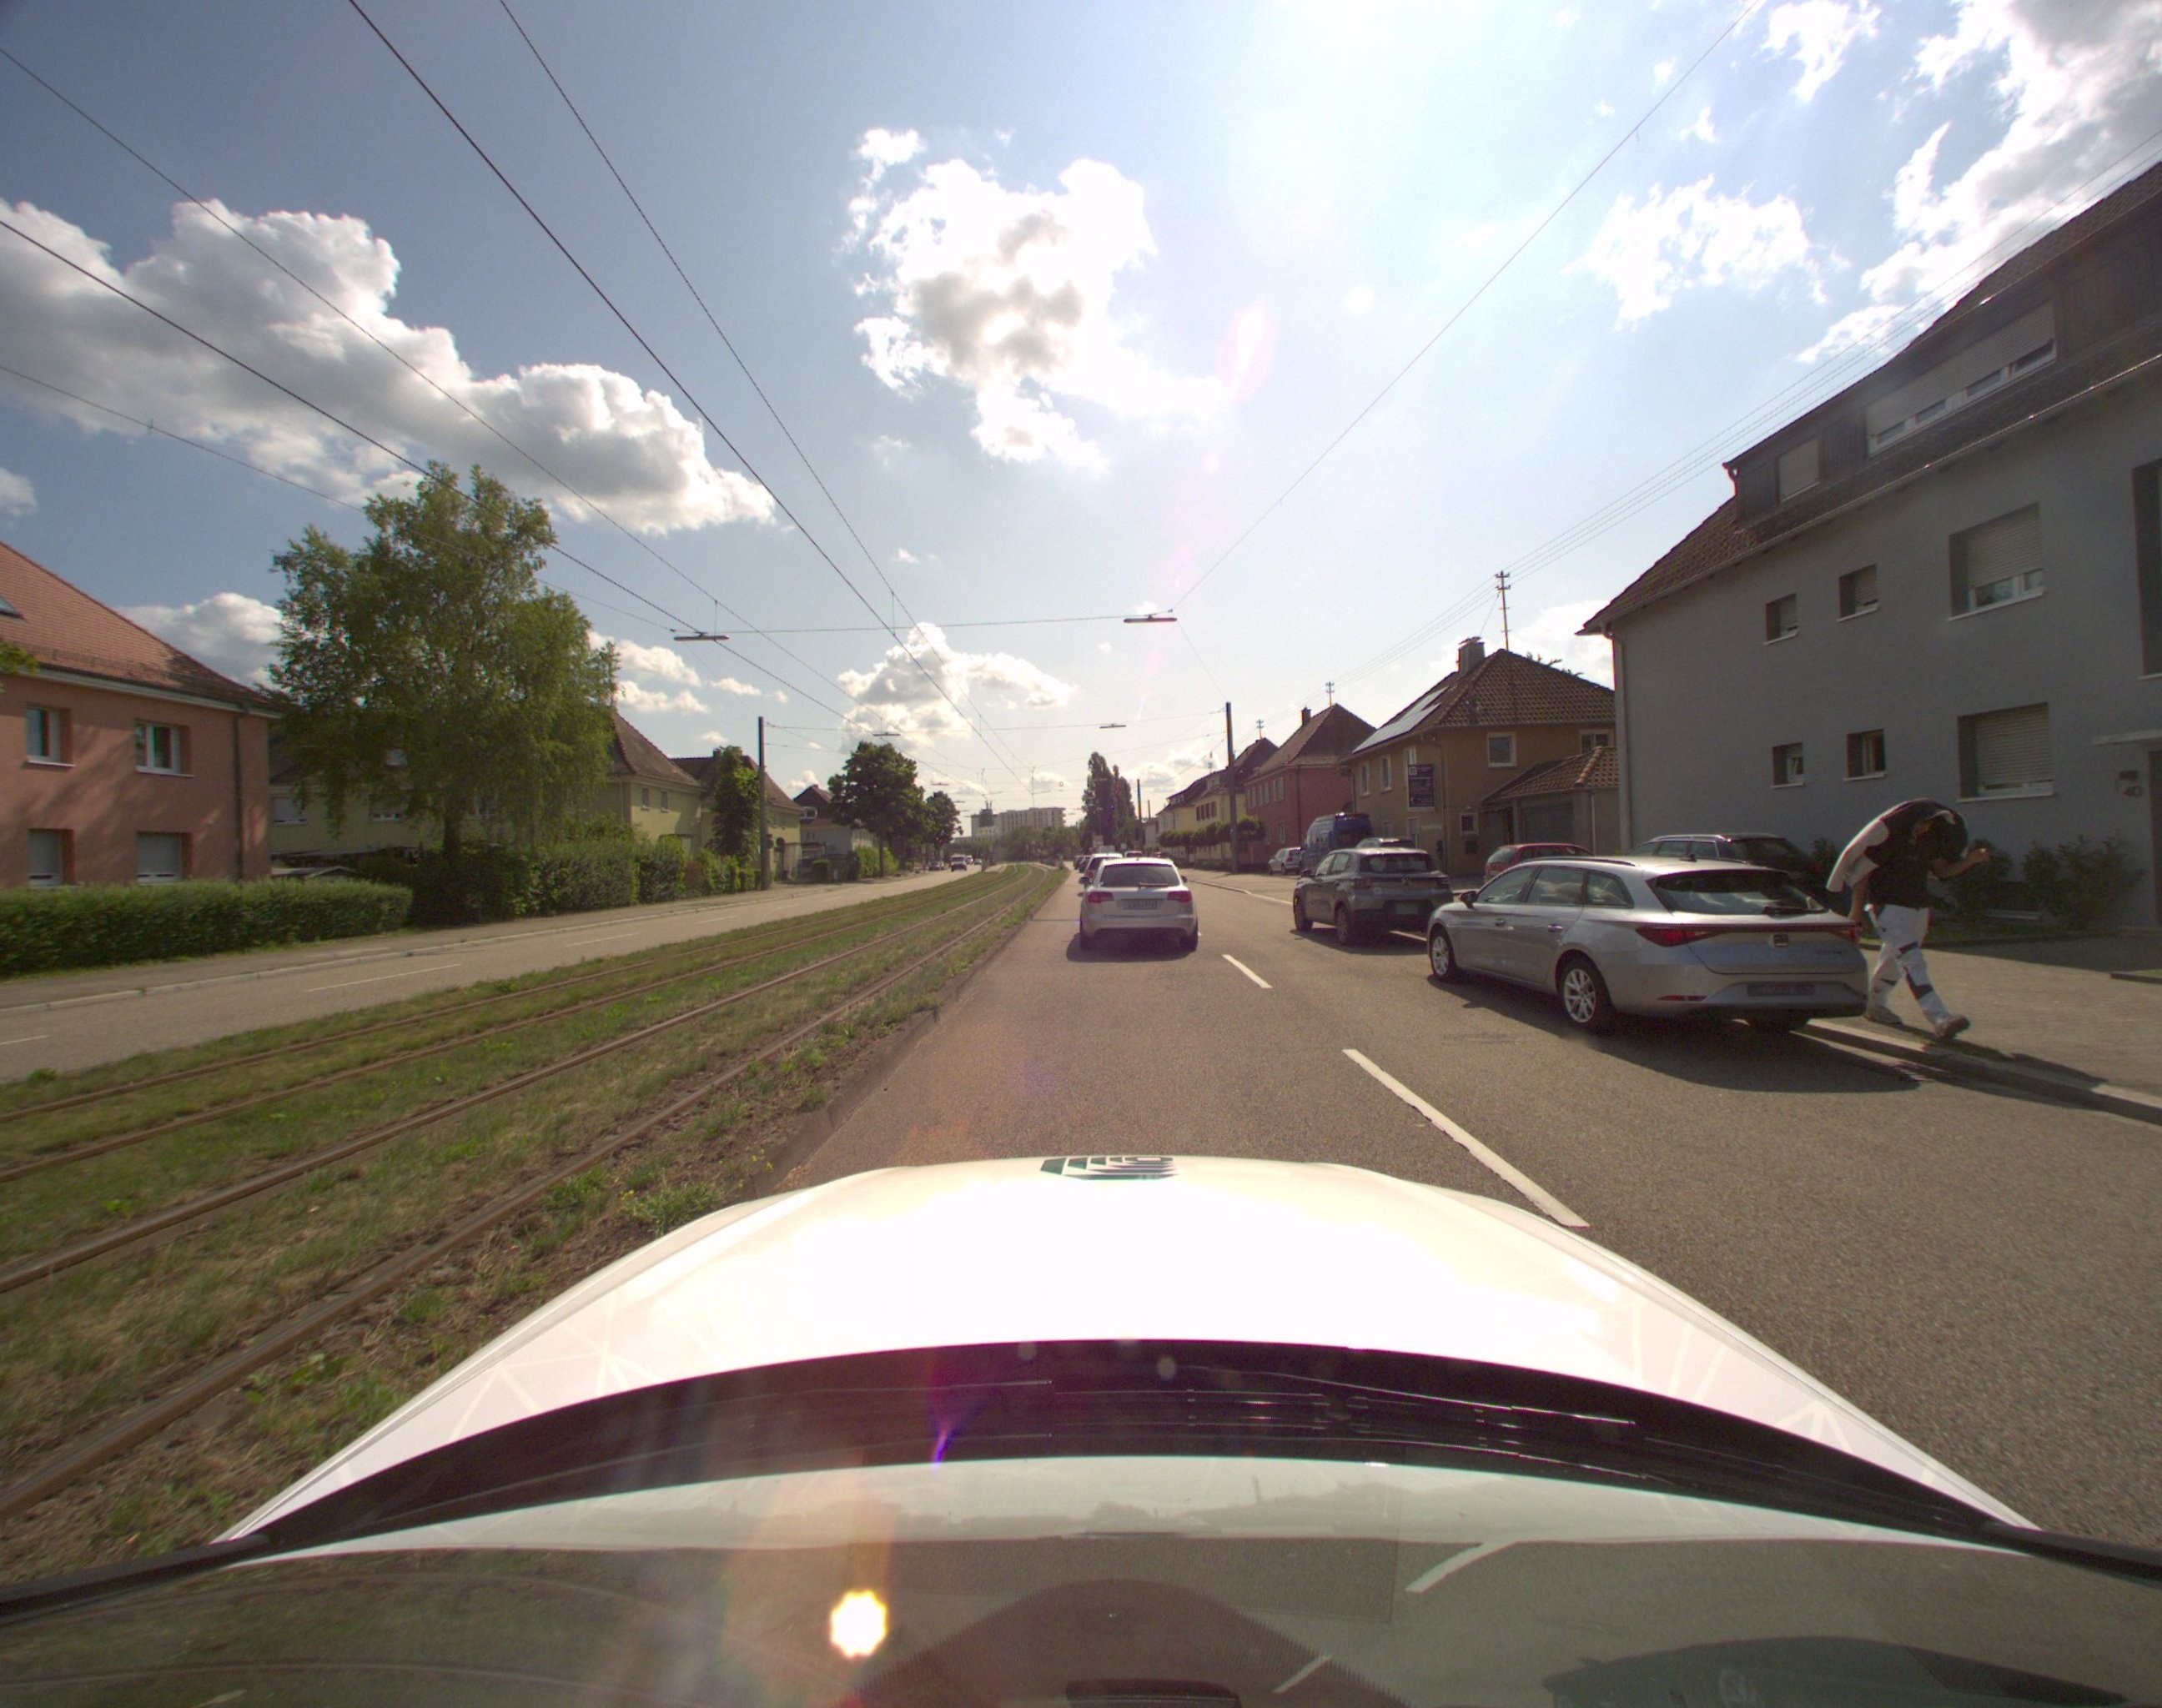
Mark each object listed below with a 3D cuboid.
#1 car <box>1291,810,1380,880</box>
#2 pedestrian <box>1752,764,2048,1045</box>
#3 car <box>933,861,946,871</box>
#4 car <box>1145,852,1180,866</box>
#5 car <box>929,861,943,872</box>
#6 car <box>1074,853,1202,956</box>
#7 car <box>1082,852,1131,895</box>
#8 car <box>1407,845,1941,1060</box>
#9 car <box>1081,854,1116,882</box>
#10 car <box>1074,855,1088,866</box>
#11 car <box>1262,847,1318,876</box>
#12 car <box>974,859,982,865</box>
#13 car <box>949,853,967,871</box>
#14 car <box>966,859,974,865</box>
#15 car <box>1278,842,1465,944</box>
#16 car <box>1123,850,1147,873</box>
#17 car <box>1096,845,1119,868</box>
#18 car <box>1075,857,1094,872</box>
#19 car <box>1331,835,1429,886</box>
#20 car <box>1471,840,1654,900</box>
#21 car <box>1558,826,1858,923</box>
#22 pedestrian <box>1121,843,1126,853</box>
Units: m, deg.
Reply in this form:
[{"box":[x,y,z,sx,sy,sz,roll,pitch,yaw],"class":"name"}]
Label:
[{"box":[11.498,-0.332,37.335,2.144,2.930,6.244,-1,-1,1],"class":"car"},{"box":[6.229,0.363,6.295,1.108,1.946,1.092,-2,-1,1],"class":"pedestrian"},{"box":[-23.570,1.966,135.258,2.061,1.614,4.736,-2,0,-10],"class":"car"},{"box":[9.752,0.579,96.891,1.892,1.458,4.117,-1,2,45],"class":"car"},{"box":[-22.964,1.937,129.064,1.782,1.584,3.926,-2,0,-3],"class":"car"},{"box":[0.943,0.751,14.269,1.847,1.492,4.539,-1,0,3],"class":"car"},{"box":[0.971,0.723,32.025,1.781,1.577,4.095,0,0,1],"class":"car"},{"box":[4.980,0.698,7.887,1.809,1.454,4.643,-1,-1,0],"class":"car"},{"box":[1.042,0.774,47.231,1.878,1.466,4.096,-2,0,2],"class":"car"},{"box":[0.005,0.952,114.562,1.878,1.530,4.096,-1,-1,2],"class":"car"},{"box":[11.288,0.419,44.224,1.646,1.409,4.344,-2,-1,-4],"class":"car"},{"box":[-26.116,2.092,206.824,1.896,1.541,3.718,0,-1,-9],"class":"car"},{"box":[-17.027,1.117,112.918,2.195,2.372,5.317,-3,-1,-8],"class":"car"},{"box":[-30.399,2.192,223.081,1.862,1.651,3.987,0,-1,-9],"class":"car"},{"box":[4.994,0.620,14.698,1.802,1.559,4.251,0,-1,-1],"class":"car"},{"box":[4.484,0.616,67.554,1.876,1.731,4.099,-2,0,4],"class":"car"},{"box":[3.076,0.337,96.141,2.038,2.557,5.221,-2,0,-5],"class":"car"},{"box":[0.352,1.075,86.376,1.878,1.530,4.095,-1,-1,2],"class":"car"},{"box":[11.265,0.224,31.081,1.831,1.711,4.863,-4,0,0],"class":"car"},{"box":[12.226,0.400,20.827,3.639,1.380,1.725,-1,-1,-2],"class":"car"},{"box":[11.135,0.332,15.043,1.792,1.423,4.858,-3,0,1],"class":"car"},{"box":[7.905,-1.188,150.061,0.720,1.782,0.702,-4,0,-3],"class":"pedestrian"}]
